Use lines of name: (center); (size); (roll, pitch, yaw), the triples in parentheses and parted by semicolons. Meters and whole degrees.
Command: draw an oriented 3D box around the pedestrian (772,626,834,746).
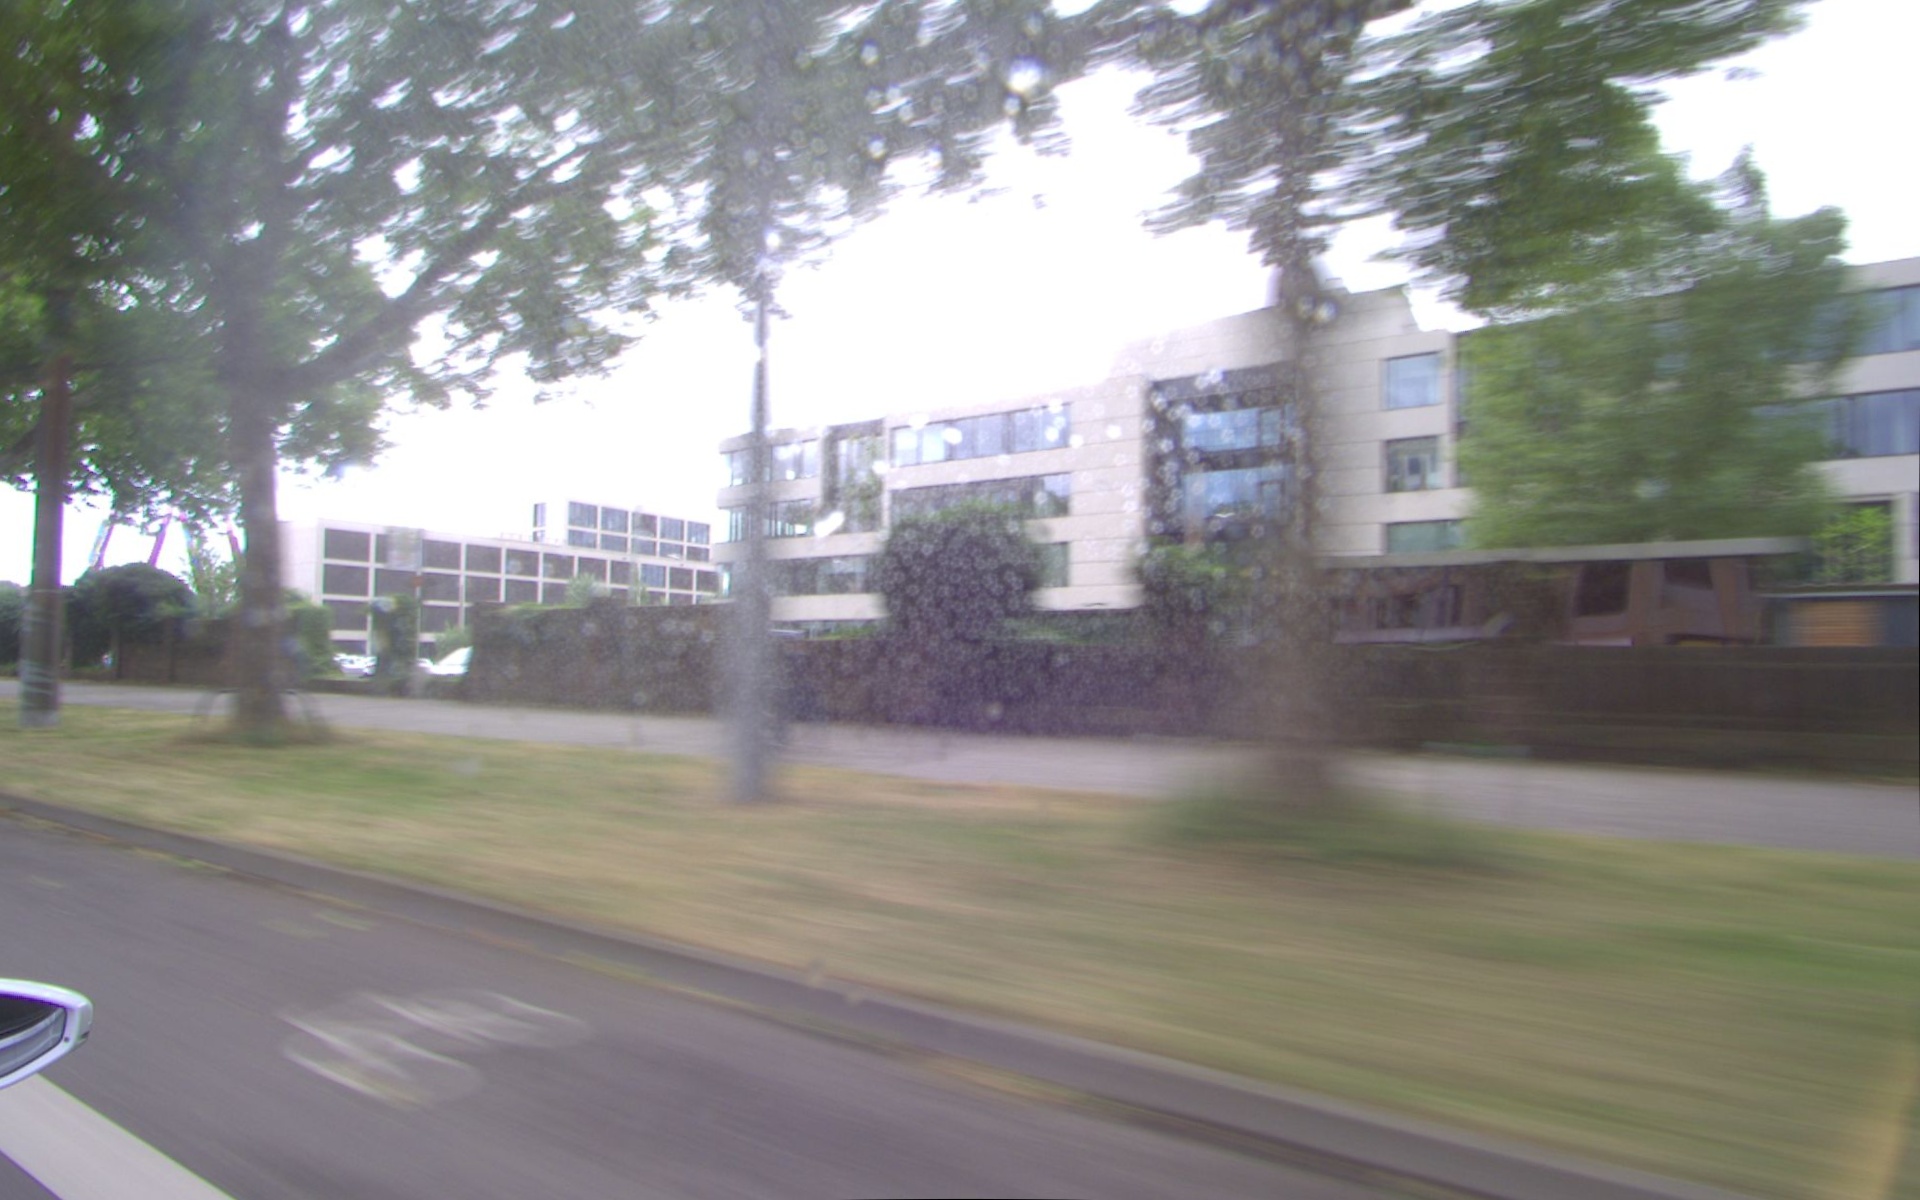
pedestrian: (-2.226, 1.206, 14.222); (0.662, 1.652, 0.556); (-2, -3, 38)

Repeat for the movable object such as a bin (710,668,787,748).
movable object such as a bin: (-3.167, 1.593, 14.975); (1.002, 1.126, 0.609); (-1, -3, 38)

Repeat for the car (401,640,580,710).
car: (-14.659, 2.334, 31.578); (1.970, 2.038, 4.874); (-2, -4, 29)
